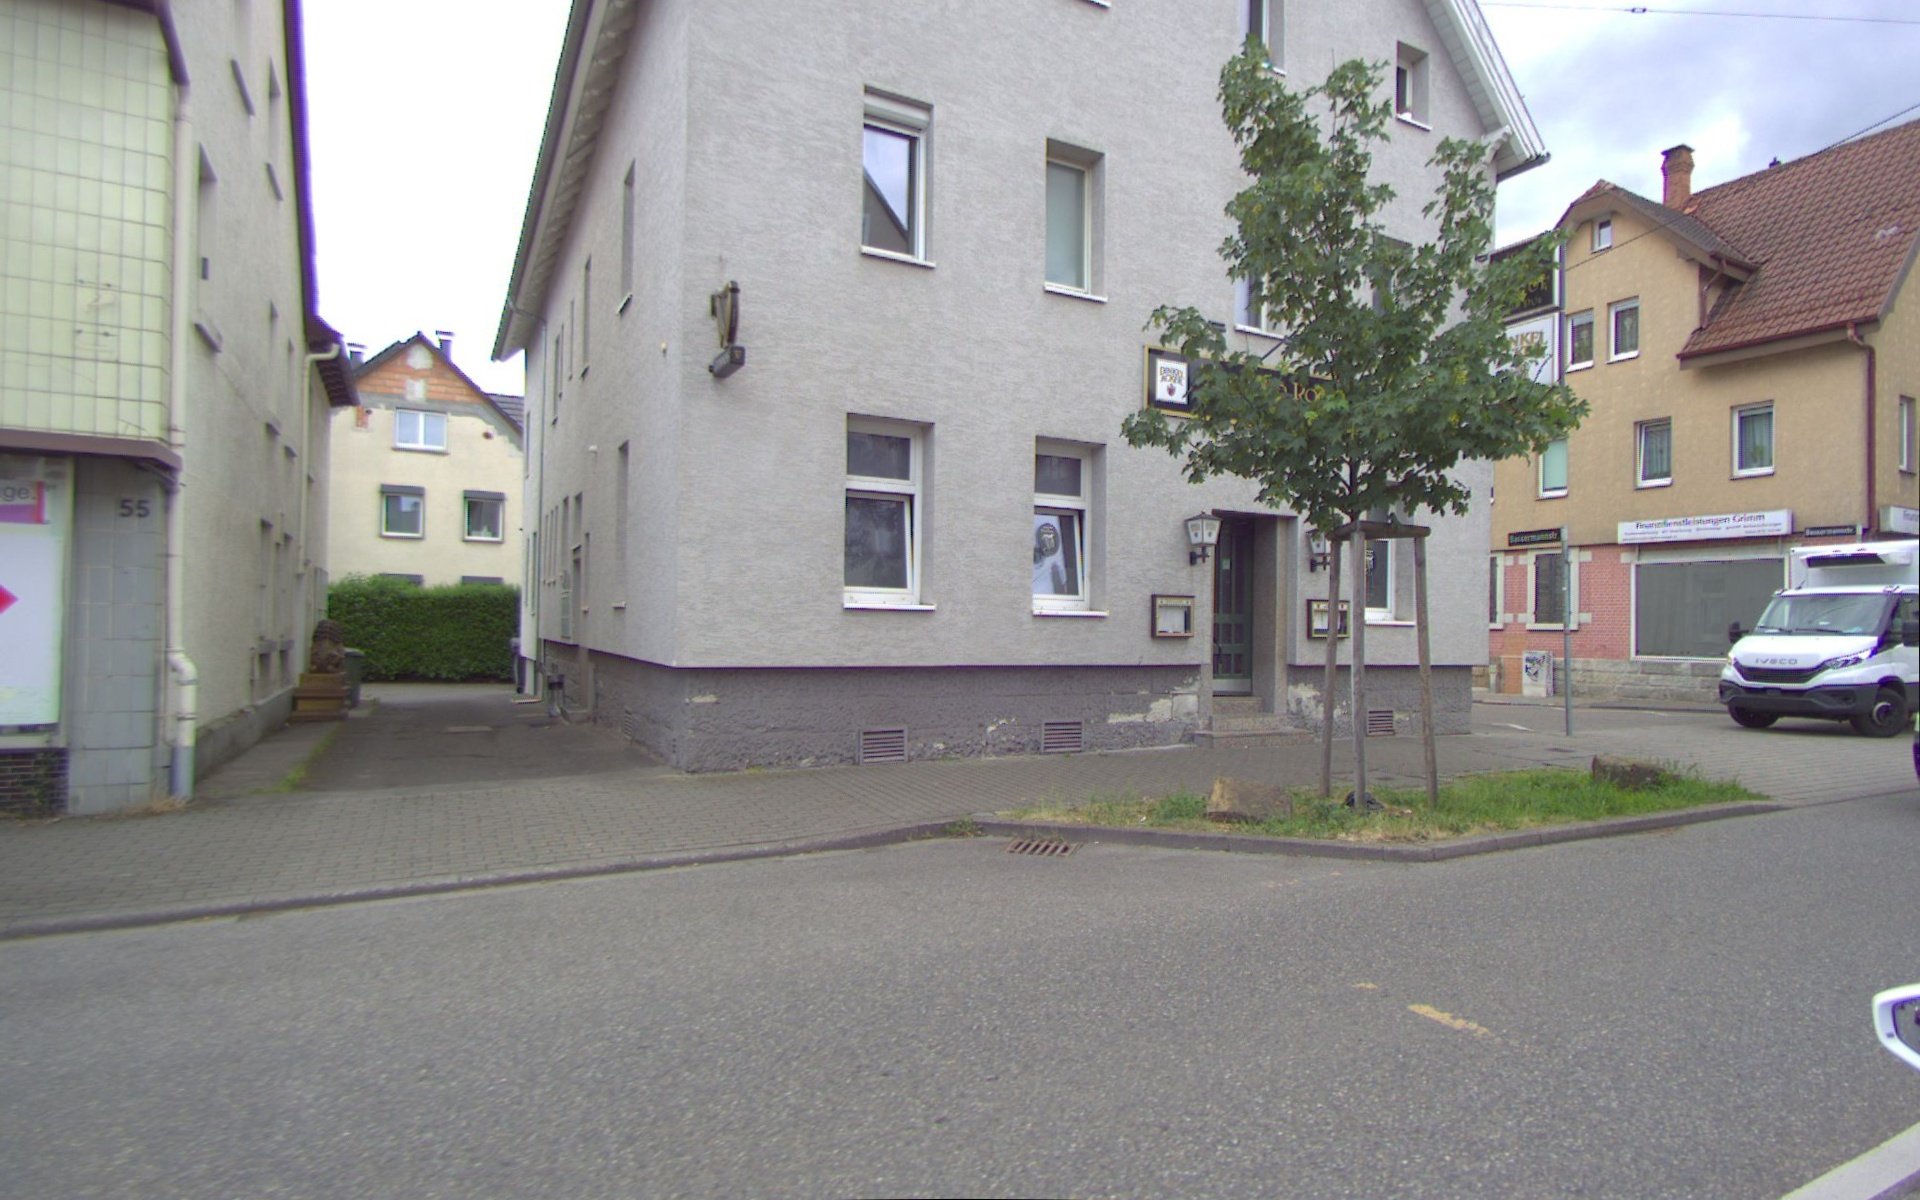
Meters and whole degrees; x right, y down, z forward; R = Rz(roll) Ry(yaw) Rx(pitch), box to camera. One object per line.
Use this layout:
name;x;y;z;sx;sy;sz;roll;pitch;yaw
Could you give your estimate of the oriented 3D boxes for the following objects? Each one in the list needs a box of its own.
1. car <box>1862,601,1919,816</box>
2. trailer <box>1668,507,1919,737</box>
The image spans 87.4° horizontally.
car;10.309;0.948;8.998;4.224;1.819;1.986;1;-2;-28
trailer;15.398;0.392;16.643;7.028;3.262;2.499;1;0;-21
